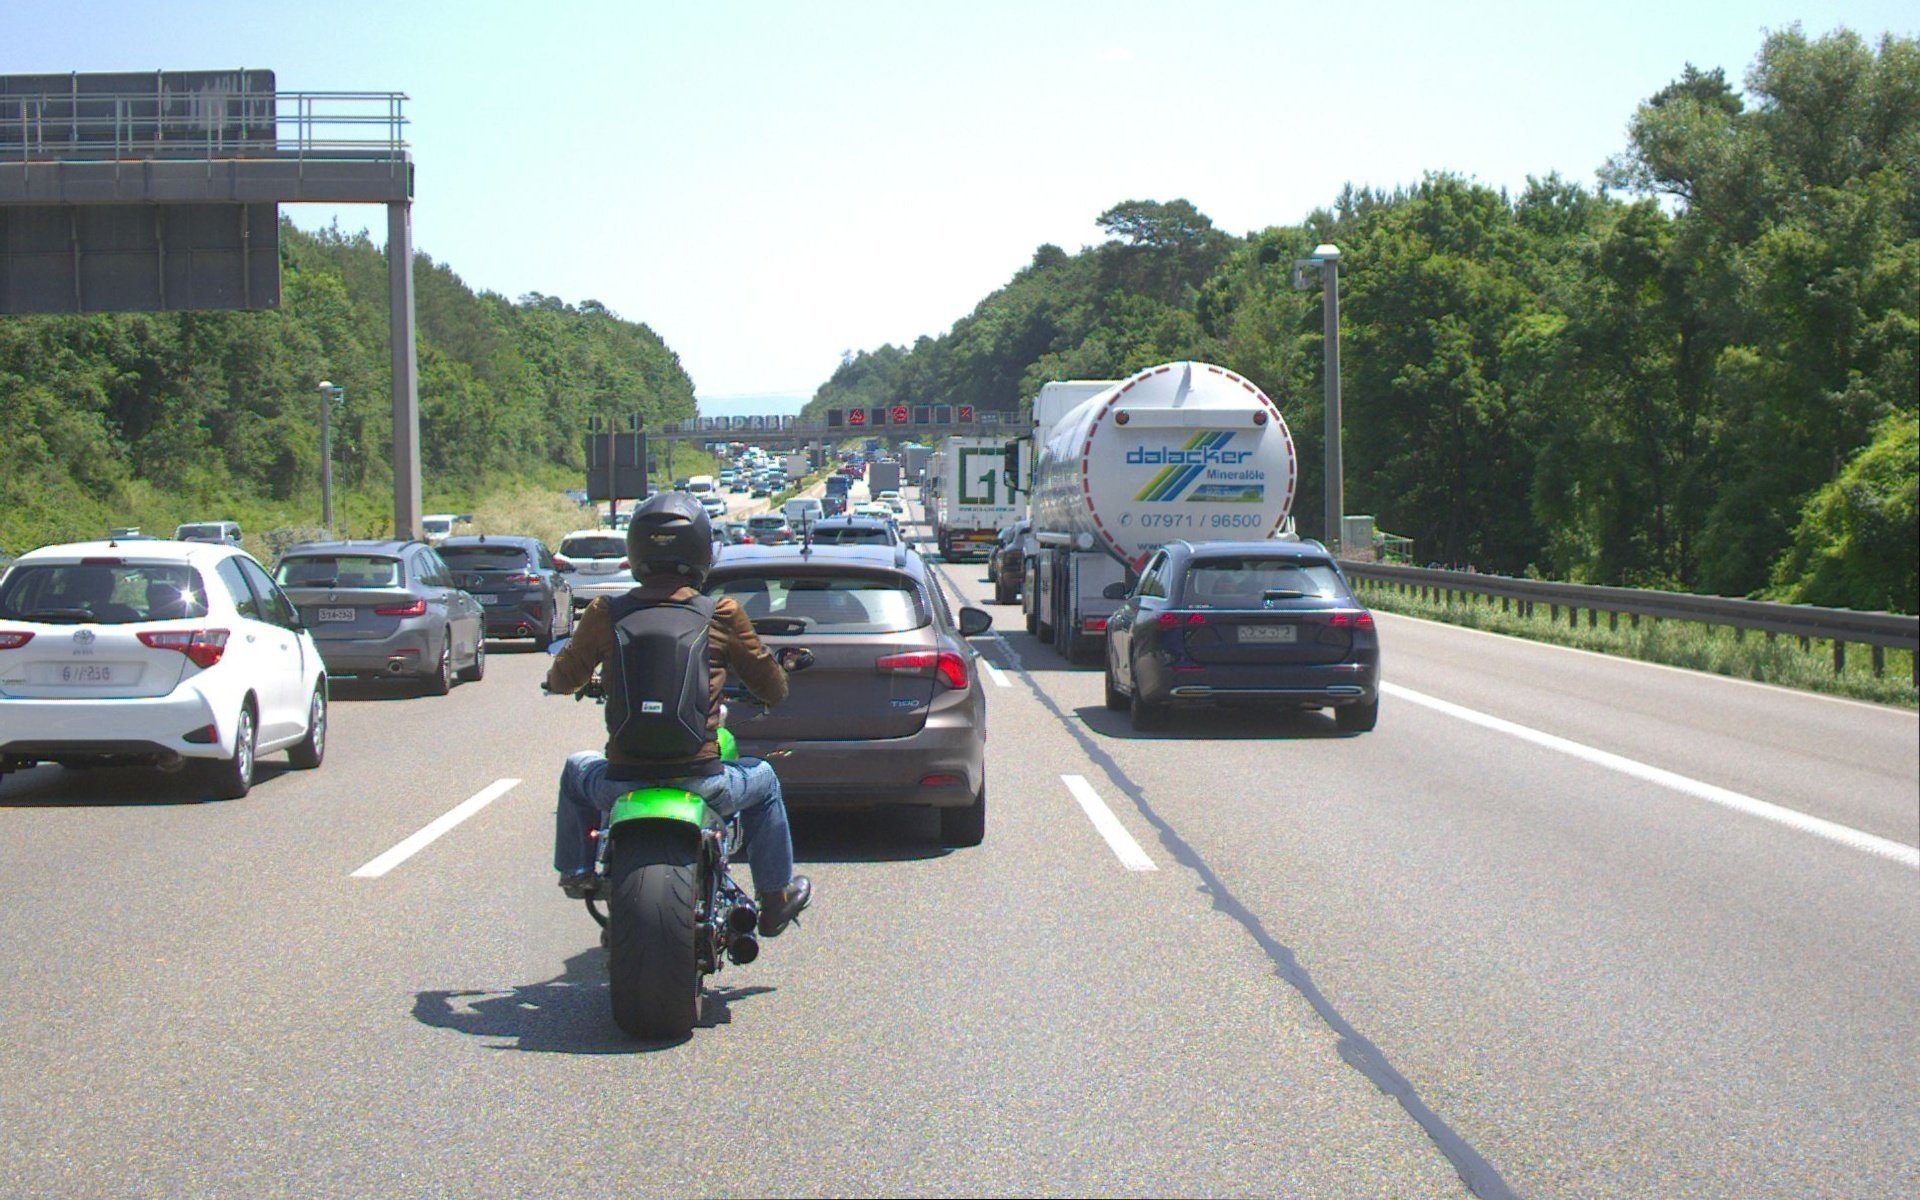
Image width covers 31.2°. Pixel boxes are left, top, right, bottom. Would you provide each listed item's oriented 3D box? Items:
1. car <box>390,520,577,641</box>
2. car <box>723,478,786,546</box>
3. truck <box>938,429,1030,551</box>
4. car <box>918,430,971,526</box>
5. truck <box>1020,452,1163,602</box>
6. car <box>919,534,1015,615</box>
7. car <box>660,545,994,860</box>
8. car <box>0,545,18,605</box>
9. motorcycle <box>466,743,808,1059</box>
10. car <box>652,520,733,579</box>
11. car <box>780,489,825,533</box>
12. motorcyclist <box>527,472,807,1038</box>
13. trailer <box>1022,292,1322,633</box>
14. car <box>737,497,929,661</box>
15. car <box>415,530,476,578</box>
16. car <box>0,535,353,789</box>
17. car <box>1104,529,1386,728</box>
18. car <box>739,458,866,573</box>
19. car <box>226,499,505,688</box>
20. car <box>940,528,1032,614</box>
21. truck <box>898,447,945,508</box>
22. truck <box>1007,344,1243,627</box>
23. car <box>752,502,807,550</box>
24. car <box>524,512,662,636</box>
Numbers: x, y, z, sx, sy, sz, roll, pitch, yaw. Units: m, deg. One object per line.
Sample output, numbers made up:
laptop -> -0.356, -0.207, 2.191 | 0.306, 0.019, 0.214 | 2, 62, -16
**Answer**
car -> -6.002, -0.244, 43.722 | 1.993, 1.459, 4.000 | 0, 0, -3
car -> -6.146, -2.618, 103.090 | 1.660, 1.971, 4.000 | 0, 1, -1
truck -> 0.837, -3.568, 113.444 | 2.854, 3.808, 7.187 | 0, 0, 2
car -> -0.704, -5.261, 150.177 | 2.167, 3.879, 9.330 | 0, 0, -1
truck -> 2.687, -1.530, 72.355 | 2.388, 2.969, 8.253 | 0, 1, -2
car -> 0.112, -0.491, 66.701 | 1.776, 1.522, 4.000 | 0, 0, -1
car -> -0.655, 0.444, 17.921 | 1.541, 1.445, 4.000 | 0, 1, -1
car -> -23.871, -0.595, 81.547 | 1.993, 1.442, 4.000 | 0, 0, 0
motorcycle -> -0.993, 0.926, 11.181 | 0.936, 0.790, 2.299 | 0, 1, -1
car -> -6.722, -1.262, 86.689 | 1.764, 1.437, 4.000 | 0, 0, -1
car -> -7.440, -4.216, 162.596 | 1.993, 2.007, 4.000 | -1, 1, -1
motorcyclist -> -0.893, 0.460, 10.735 | 0.799, 1.682, 1.016 | 0, 0, -1
trailer -> 2.387, -1.501, 42.457 | 2.828, 3.658, 10.733 | 0, 0, -1
car -> -1.393, -0.224, 37.866 | 1.993, 1.705, 4.000 | 0, 0, -2
car -> -22.202, -1.960, 148.471 | 1.993, 2.007, 4.473 | 0, 0, 0
car -> -4.940, 0.339, 21.118 | 1.776, 1.406, 4.000 | 0, 0, -1
car -> 2.194, 0.203, 27.609 | 1.792, 1.453, 4.624 | 0, 0, -1
car -> -2.556, -1.346, 56.186 | 1.993, 1.769, 4.000 | 0, 0, -2
car -> -5.616, -0.064, 32.971 | 1.993, 1.678, 4.330 | 0, 0, -1
car -> 0.610, -0.685, 82.783 | 1.993, 2.007, 4.000 | 0, 0, -3
truck -> -2.333, -7.268, 205.594 | 2.696, 3.394, 10.479 | -1, 1, -1
truck -> 2.185, -1.498, 47.817 | 2.828, 3.658, 6.430 | 0, 0, -1
car -> -6.115, -2.492, 116.739 | 1.660, 1.594, 4.000 | 0, 1, -1
car -> -6.127, -0.425, 57.780 | 1.993, 2.007, 4.000 | 0, 0, -2
